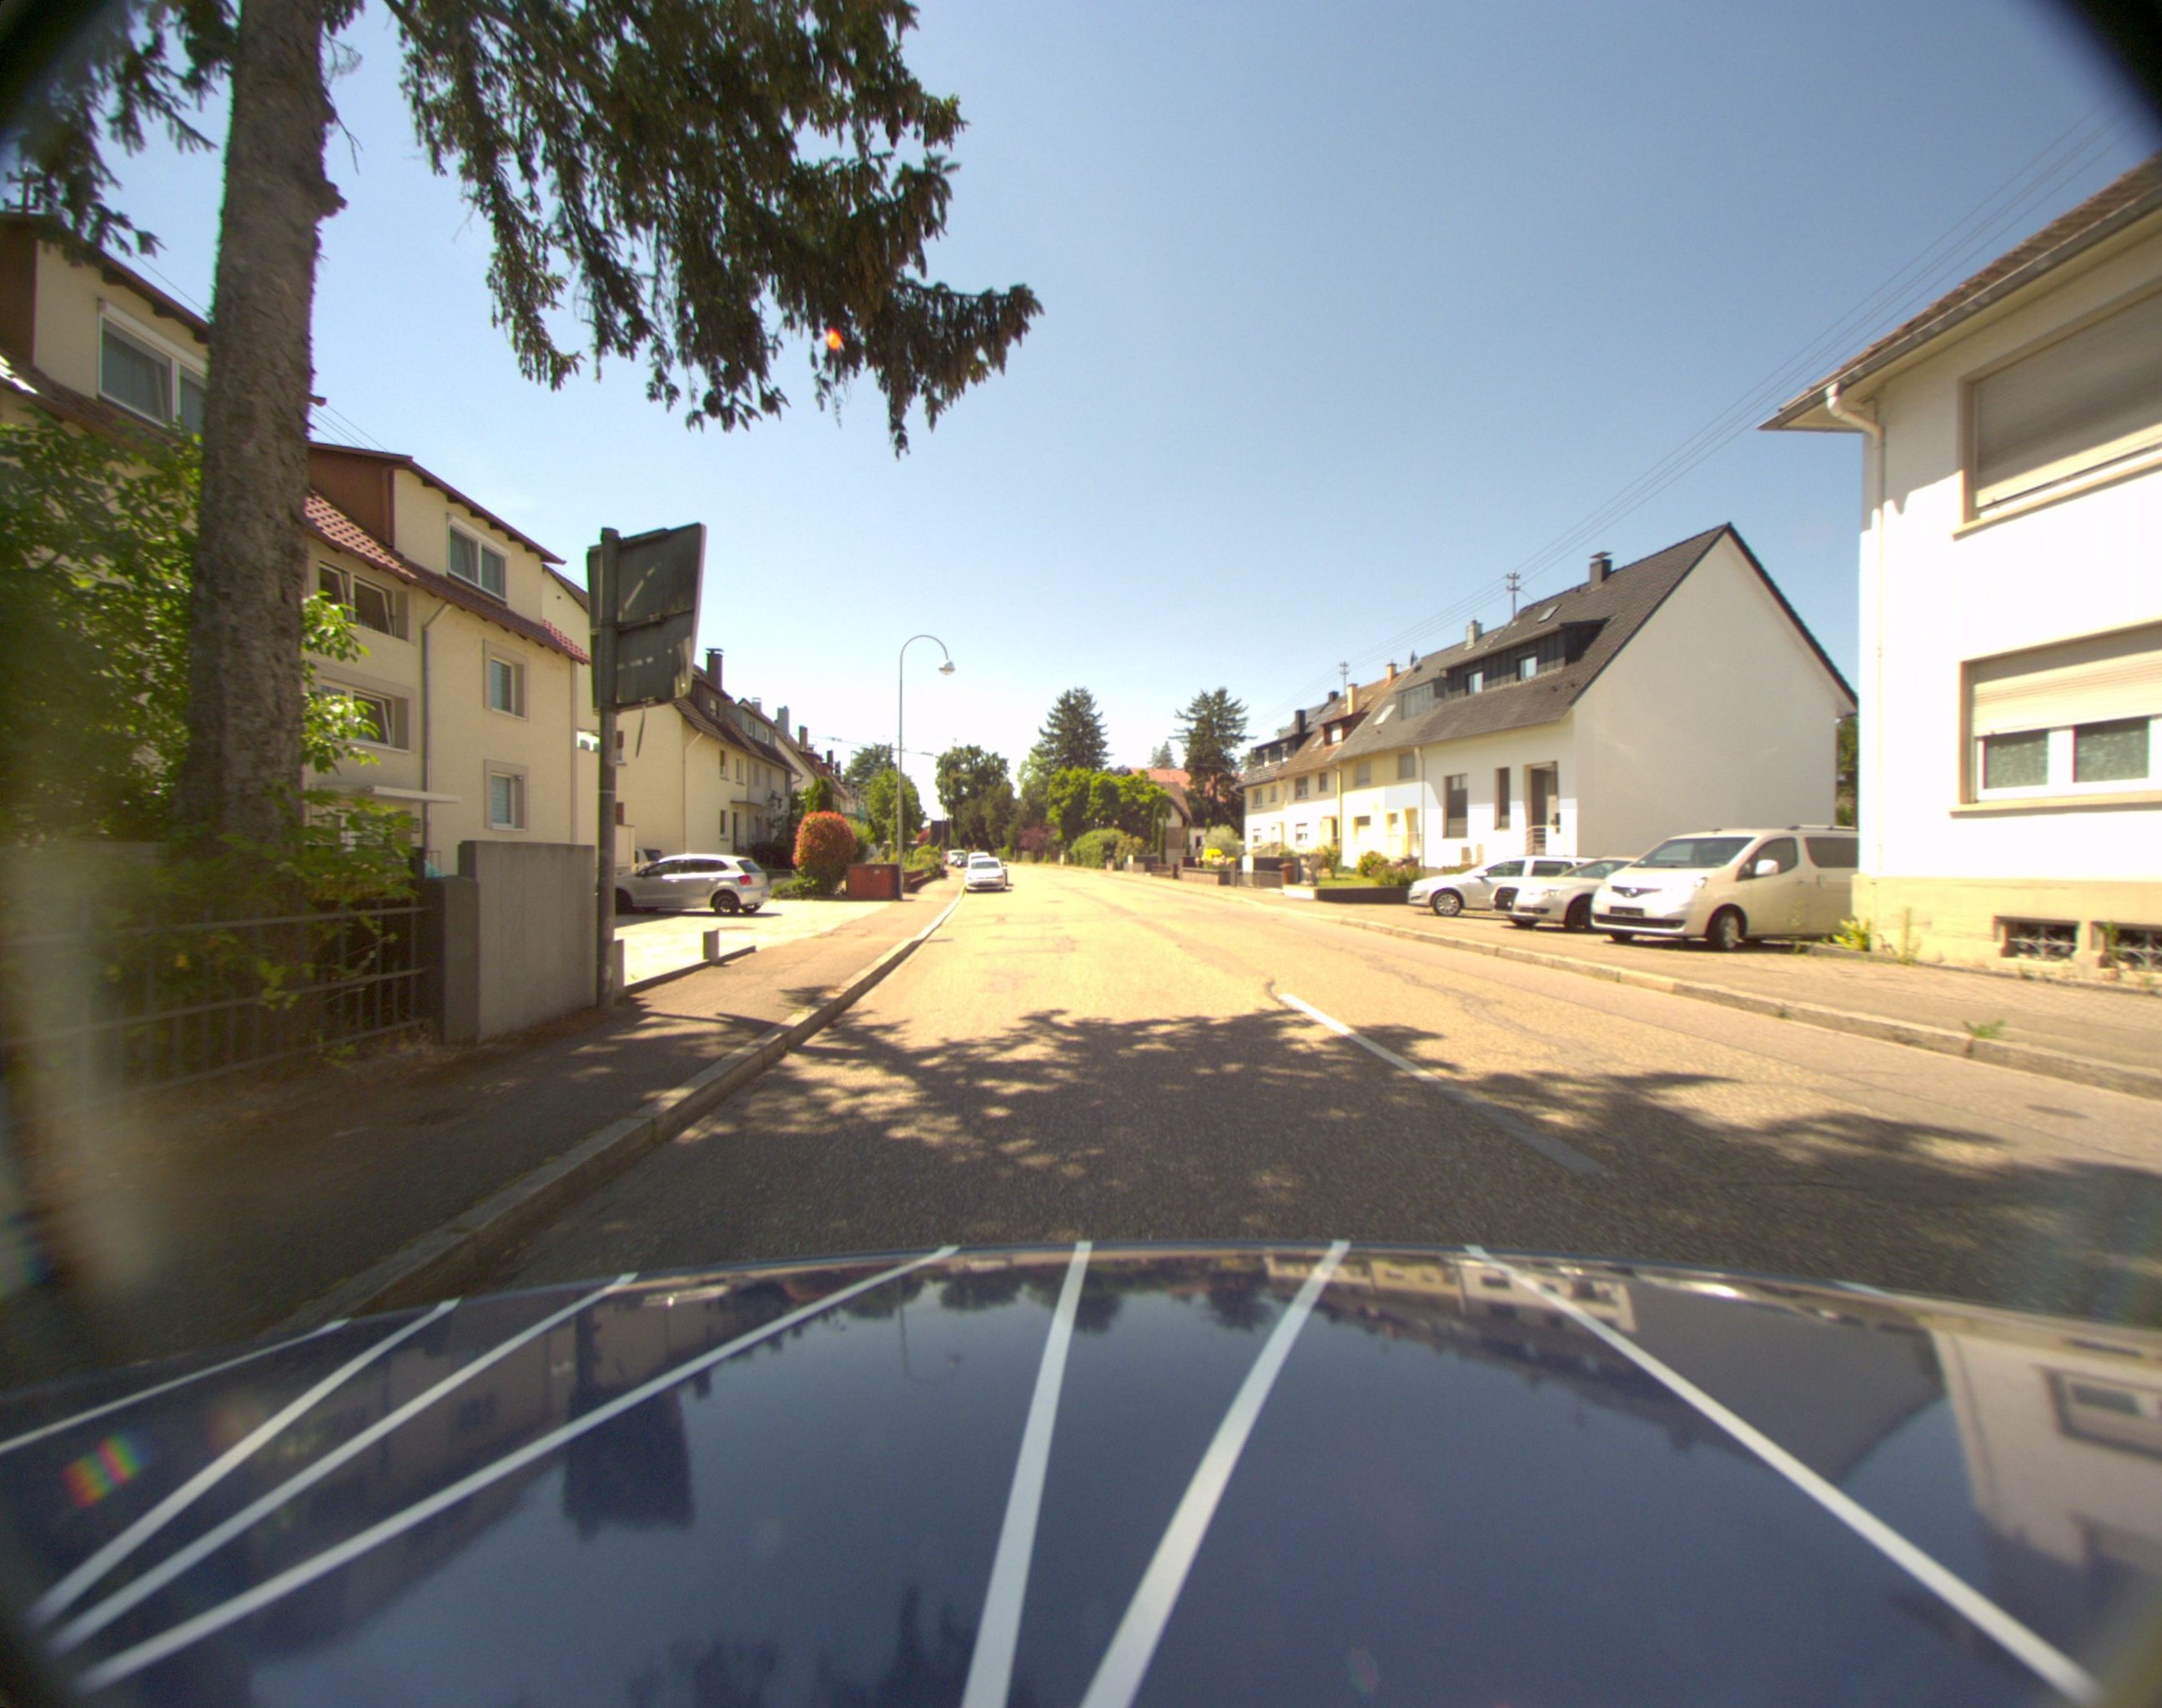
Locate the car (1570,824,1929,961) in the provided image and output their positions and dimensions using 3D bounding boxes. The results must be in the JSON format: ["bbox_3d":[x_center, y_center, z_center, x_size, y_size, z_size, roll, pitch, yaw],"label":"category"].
[{"bbox_3d":[10.199,0.581,11.723,4.367,1.866,1.848,2,0,-11],"label":"car"}]

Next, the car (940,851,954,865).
[{"bbox_3d":[-18.126,0.475,102.767,1.690,1.769,3.936,-2,1,-10],"label":"car"}]

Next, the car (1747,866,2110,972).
[{"bbox_3d":[15.229,1.127,13.834,4.484,1.486,1.975,4,0,-3],"label":"car"}]

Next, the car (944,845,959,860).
[{"bbox_3d":[-15.212,-0.196,89.351,1.690,1.769,3.936,-2,1,-10],"label":"car"}]

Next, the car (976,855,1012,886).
[{"bbox_3d":[-4.525,0.807,39.516,1.689,1.445,4.359,-1,1,-7],"label":"car"}]

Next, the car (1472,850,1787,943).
[{"bbox_3d":[10.049,0.747,14.169,4.484,1.486,1.975,2,0,-3],"label":"car"}]

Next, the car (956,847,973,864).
[{"bbox_3d":[-12.627,0.116,82.457,1.690,1.769,3.936,-2,1,-10],"label":"car"}]

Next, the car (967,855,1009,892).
[{"bbox_3d":[-4.082,0.815,33.415,1.689,1.446,3.737,-1,0,-7],"label":"car"}]

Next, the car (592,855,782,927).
[{"bbox_3d":[-9.417,0.860,18.410,3.629,1.521,1.776,-1,1,-4],"label":"car"}]

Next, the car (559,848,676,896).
[{"bbox_3d":[-16.377,0.626,26.961,3.158,1.543,1.569,2,0,-9],"label":"car"}]

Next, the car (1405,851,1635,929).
[{"bbox_3d":[9.764,0.753,17.239,4.263,1.486,1.880,2,0,27],"label":"car"}]

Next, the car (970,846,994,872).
[{"bbox_3d":[-7.589,0.345,58.512,1.689,1.770,3.936,-2,3,-6],"label":"car"}]
